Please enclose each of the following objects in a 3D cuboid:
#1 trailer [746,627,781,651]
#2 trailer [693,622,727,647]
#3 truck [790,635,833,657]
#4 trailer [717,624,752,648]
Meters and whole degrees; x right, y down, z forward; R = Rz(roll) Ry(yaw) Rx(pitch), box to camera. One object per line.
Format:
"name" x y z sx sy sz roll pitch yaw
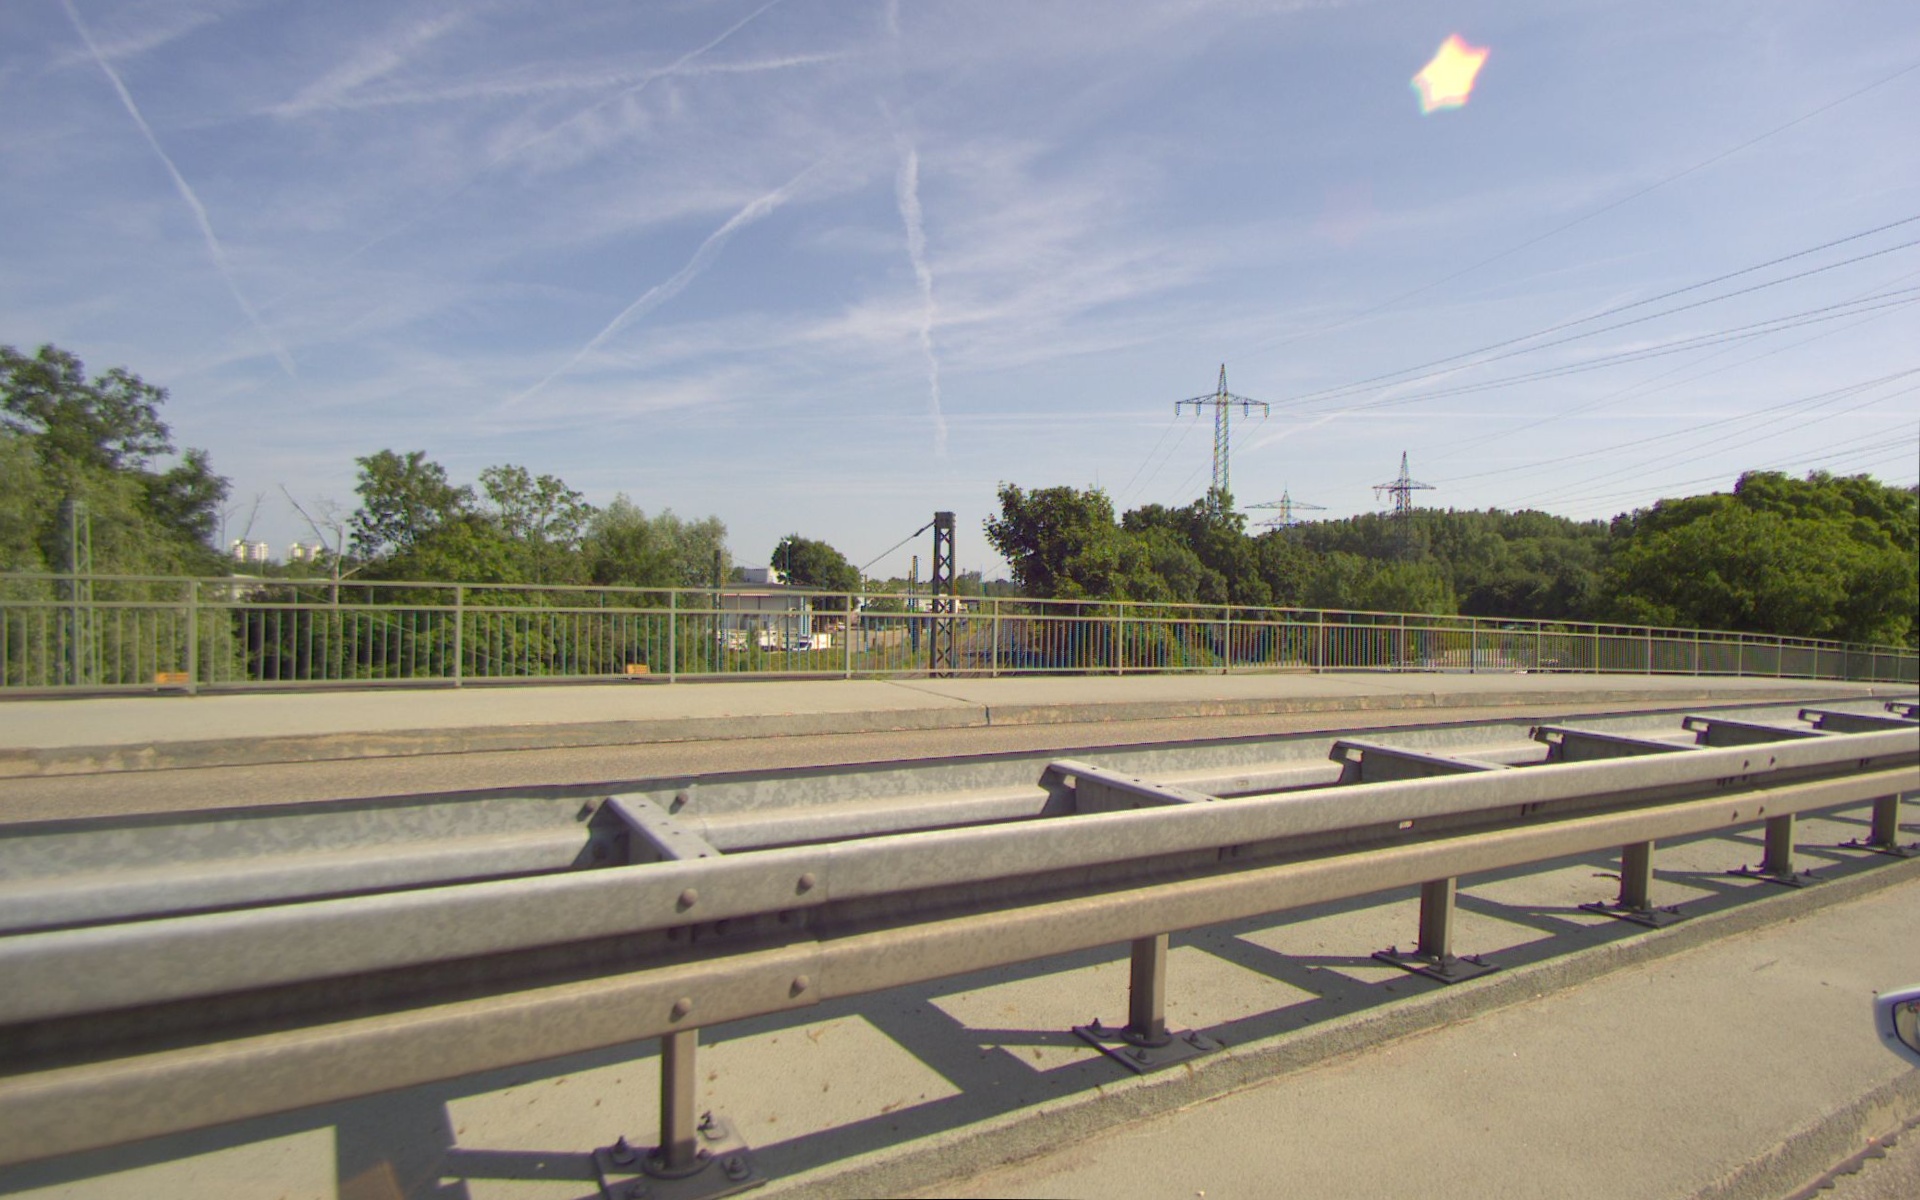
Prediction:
"trailer" -25.818 5.097 131.678 2.585 2.848 6.726 1 0 -29
"trailer" -31.491 4.270 126.338 2.585 2.848 6.726 1 0 -29
"truck" -17.781 5.489 120.538 2.255 2.432 5.600 1 0 27
"trailer" -28.927 4.577 128.711 2.585 2.848 6.726 1 0 -29
